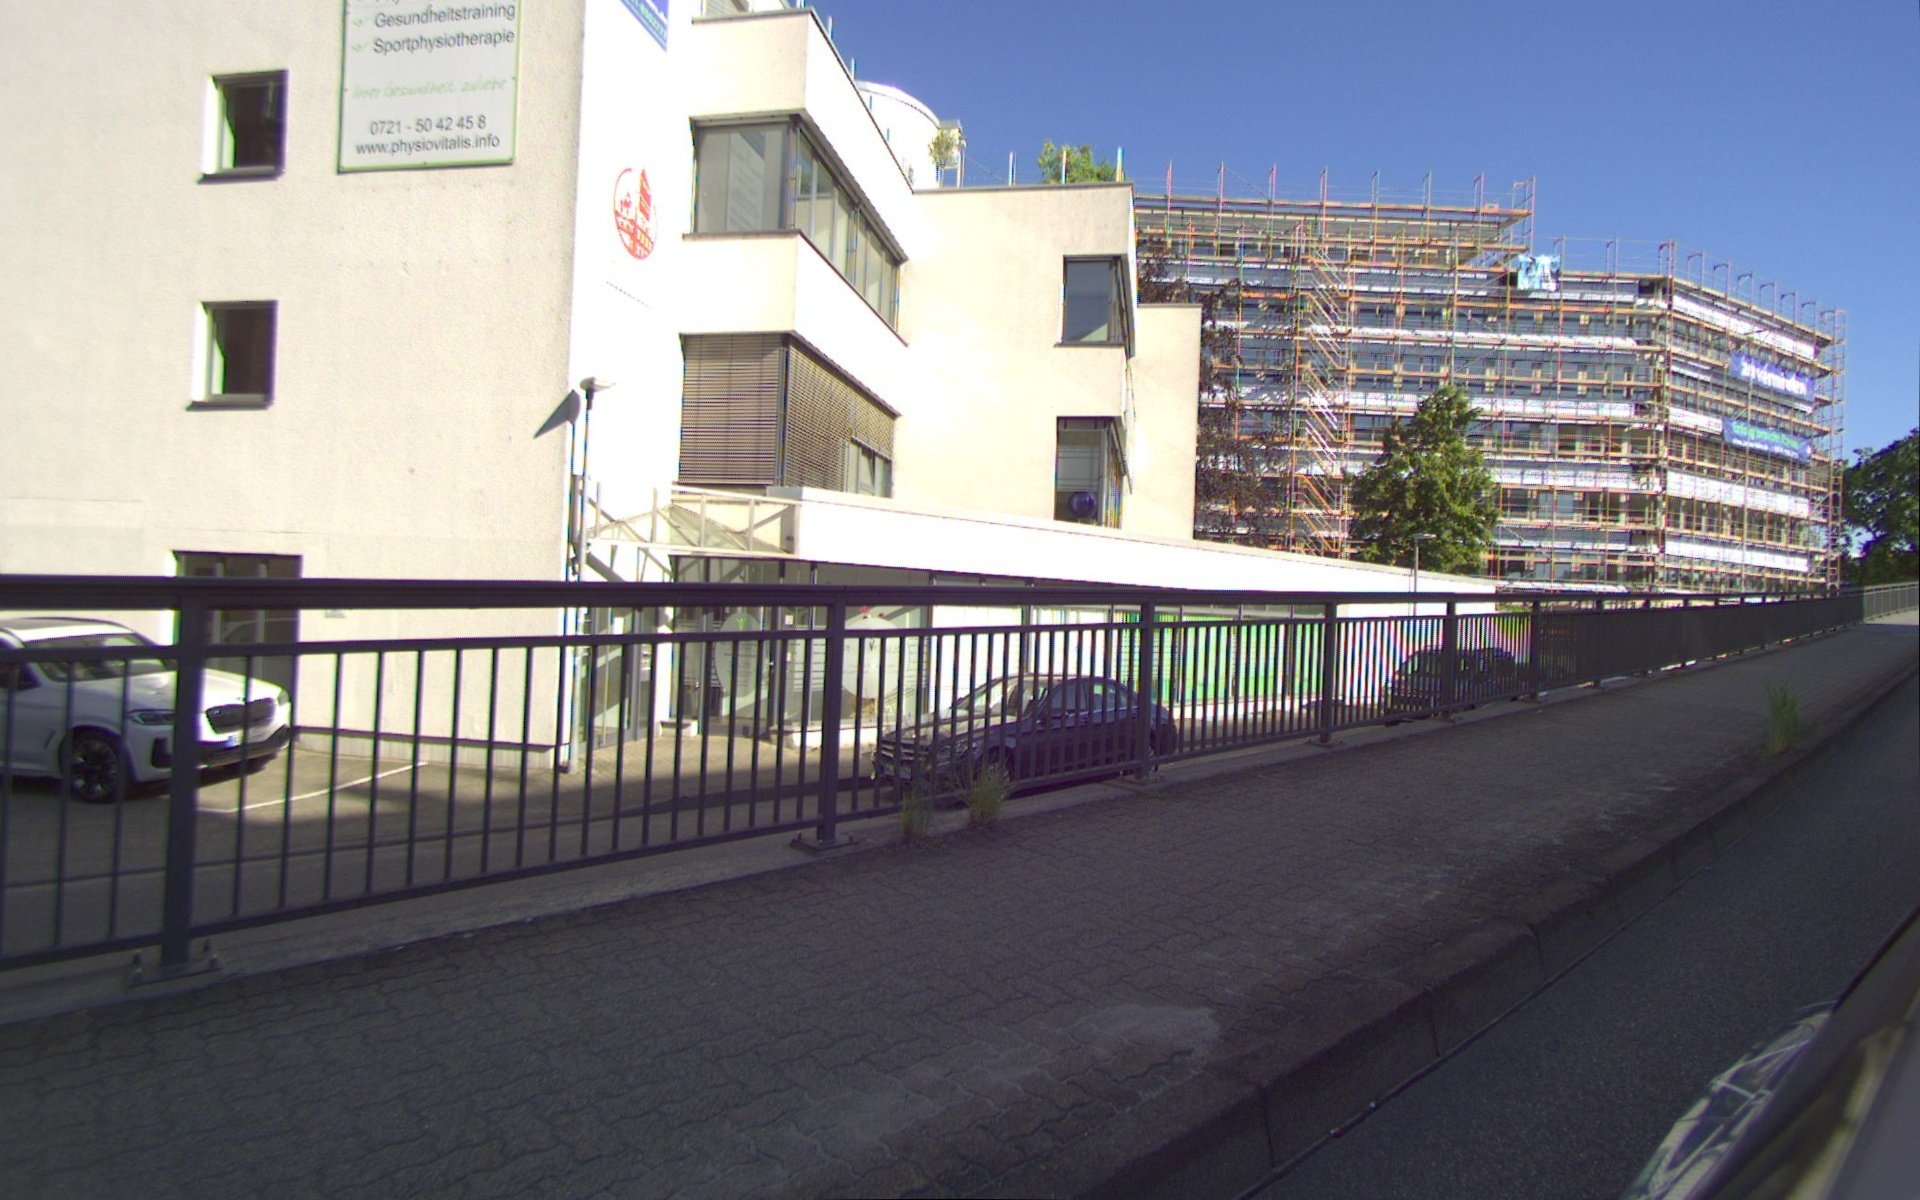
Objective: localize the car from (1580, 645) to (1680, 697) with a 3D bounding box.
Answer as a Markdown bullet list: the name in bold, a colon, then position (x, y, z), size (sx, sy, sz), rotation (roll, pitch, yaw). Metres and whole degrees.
- **car**: position (21.090, 2.174, 31.798), size (3.931, 1.410, 1.723), rotation (1, -1, -42)

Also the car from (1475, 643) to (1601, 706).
- **car**: position (14.983, 1.868, 26.158), size (3.931, 1.410, 1.723), rotation (1, -1, -42)

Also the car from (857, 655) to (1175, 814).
- **car**: position (0.812, 1.547, 12.808), size (3.929, 1.541, 1.724), rotation (1, -1, -41)

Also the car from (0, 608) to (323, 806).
- **car**: position (-9.533, 1.022, 10.840), size (4.455, 1.707, 1.840), rotation (2, 0, 9)

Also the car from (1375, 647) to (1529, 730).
- **car**: position (10.861, 1.862, 22.228), size (3.931, 1.541, 1.723), rotation (1, -1, -42)
